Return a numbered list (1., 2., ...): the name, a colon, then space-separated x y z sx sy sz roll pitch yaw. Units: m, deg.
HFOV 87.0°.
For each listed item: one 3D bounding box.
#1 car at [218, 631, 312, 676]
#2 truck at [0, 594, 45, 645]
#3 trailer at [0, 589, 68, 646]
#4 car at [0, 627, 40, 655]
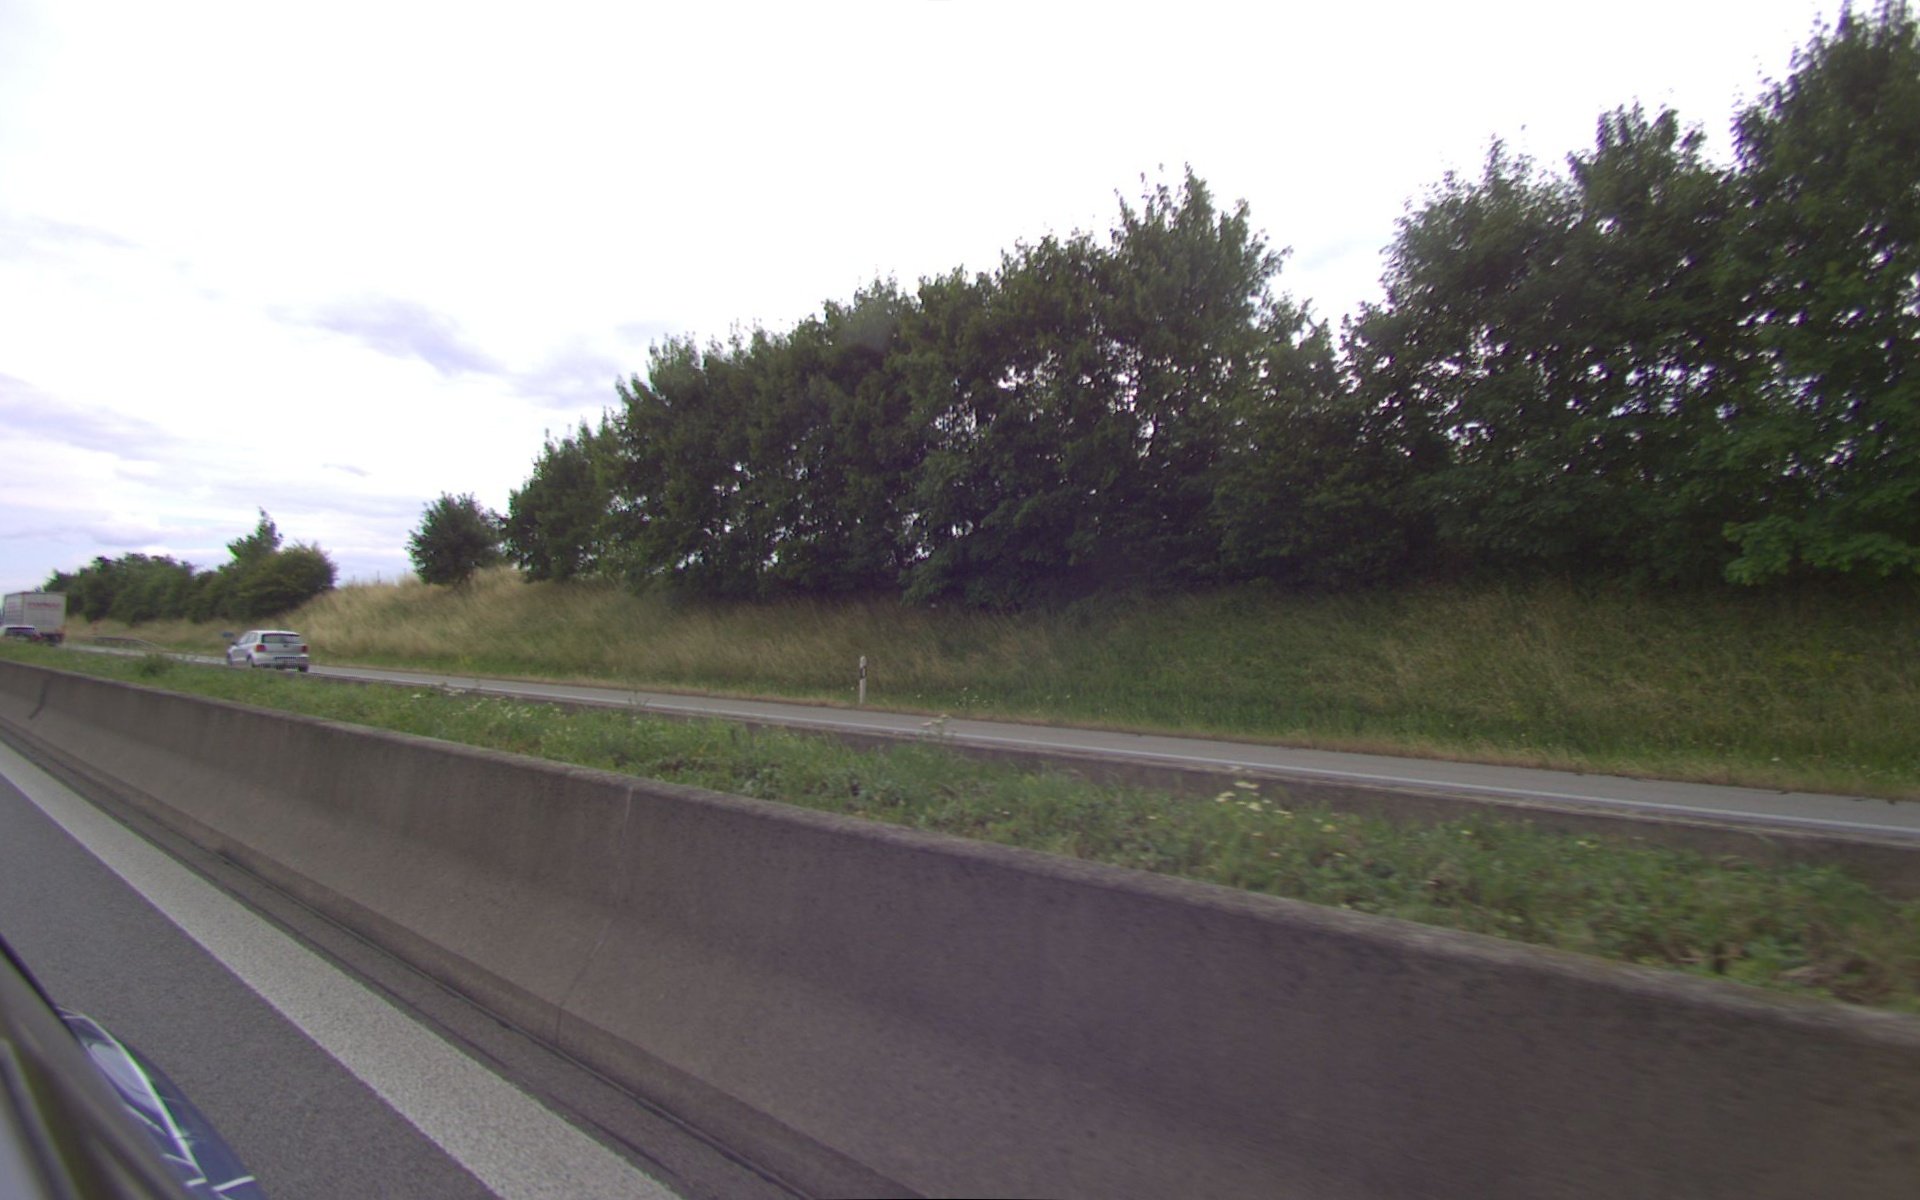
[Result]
1. car: -23.516 1.783 34.198 3.885 1.420 1.629 -1 -4 40
2. truck: -78.005 1.665 83.732 5.162 4.120 2.678 -2 -4 42
3. trailer: -72.664 1.490 78.990 14.591 4.120 2.678 -2 -4 42
4. car: -49.412 2.133 52.578 4.598 1.388 1.828 -1 -4 41
